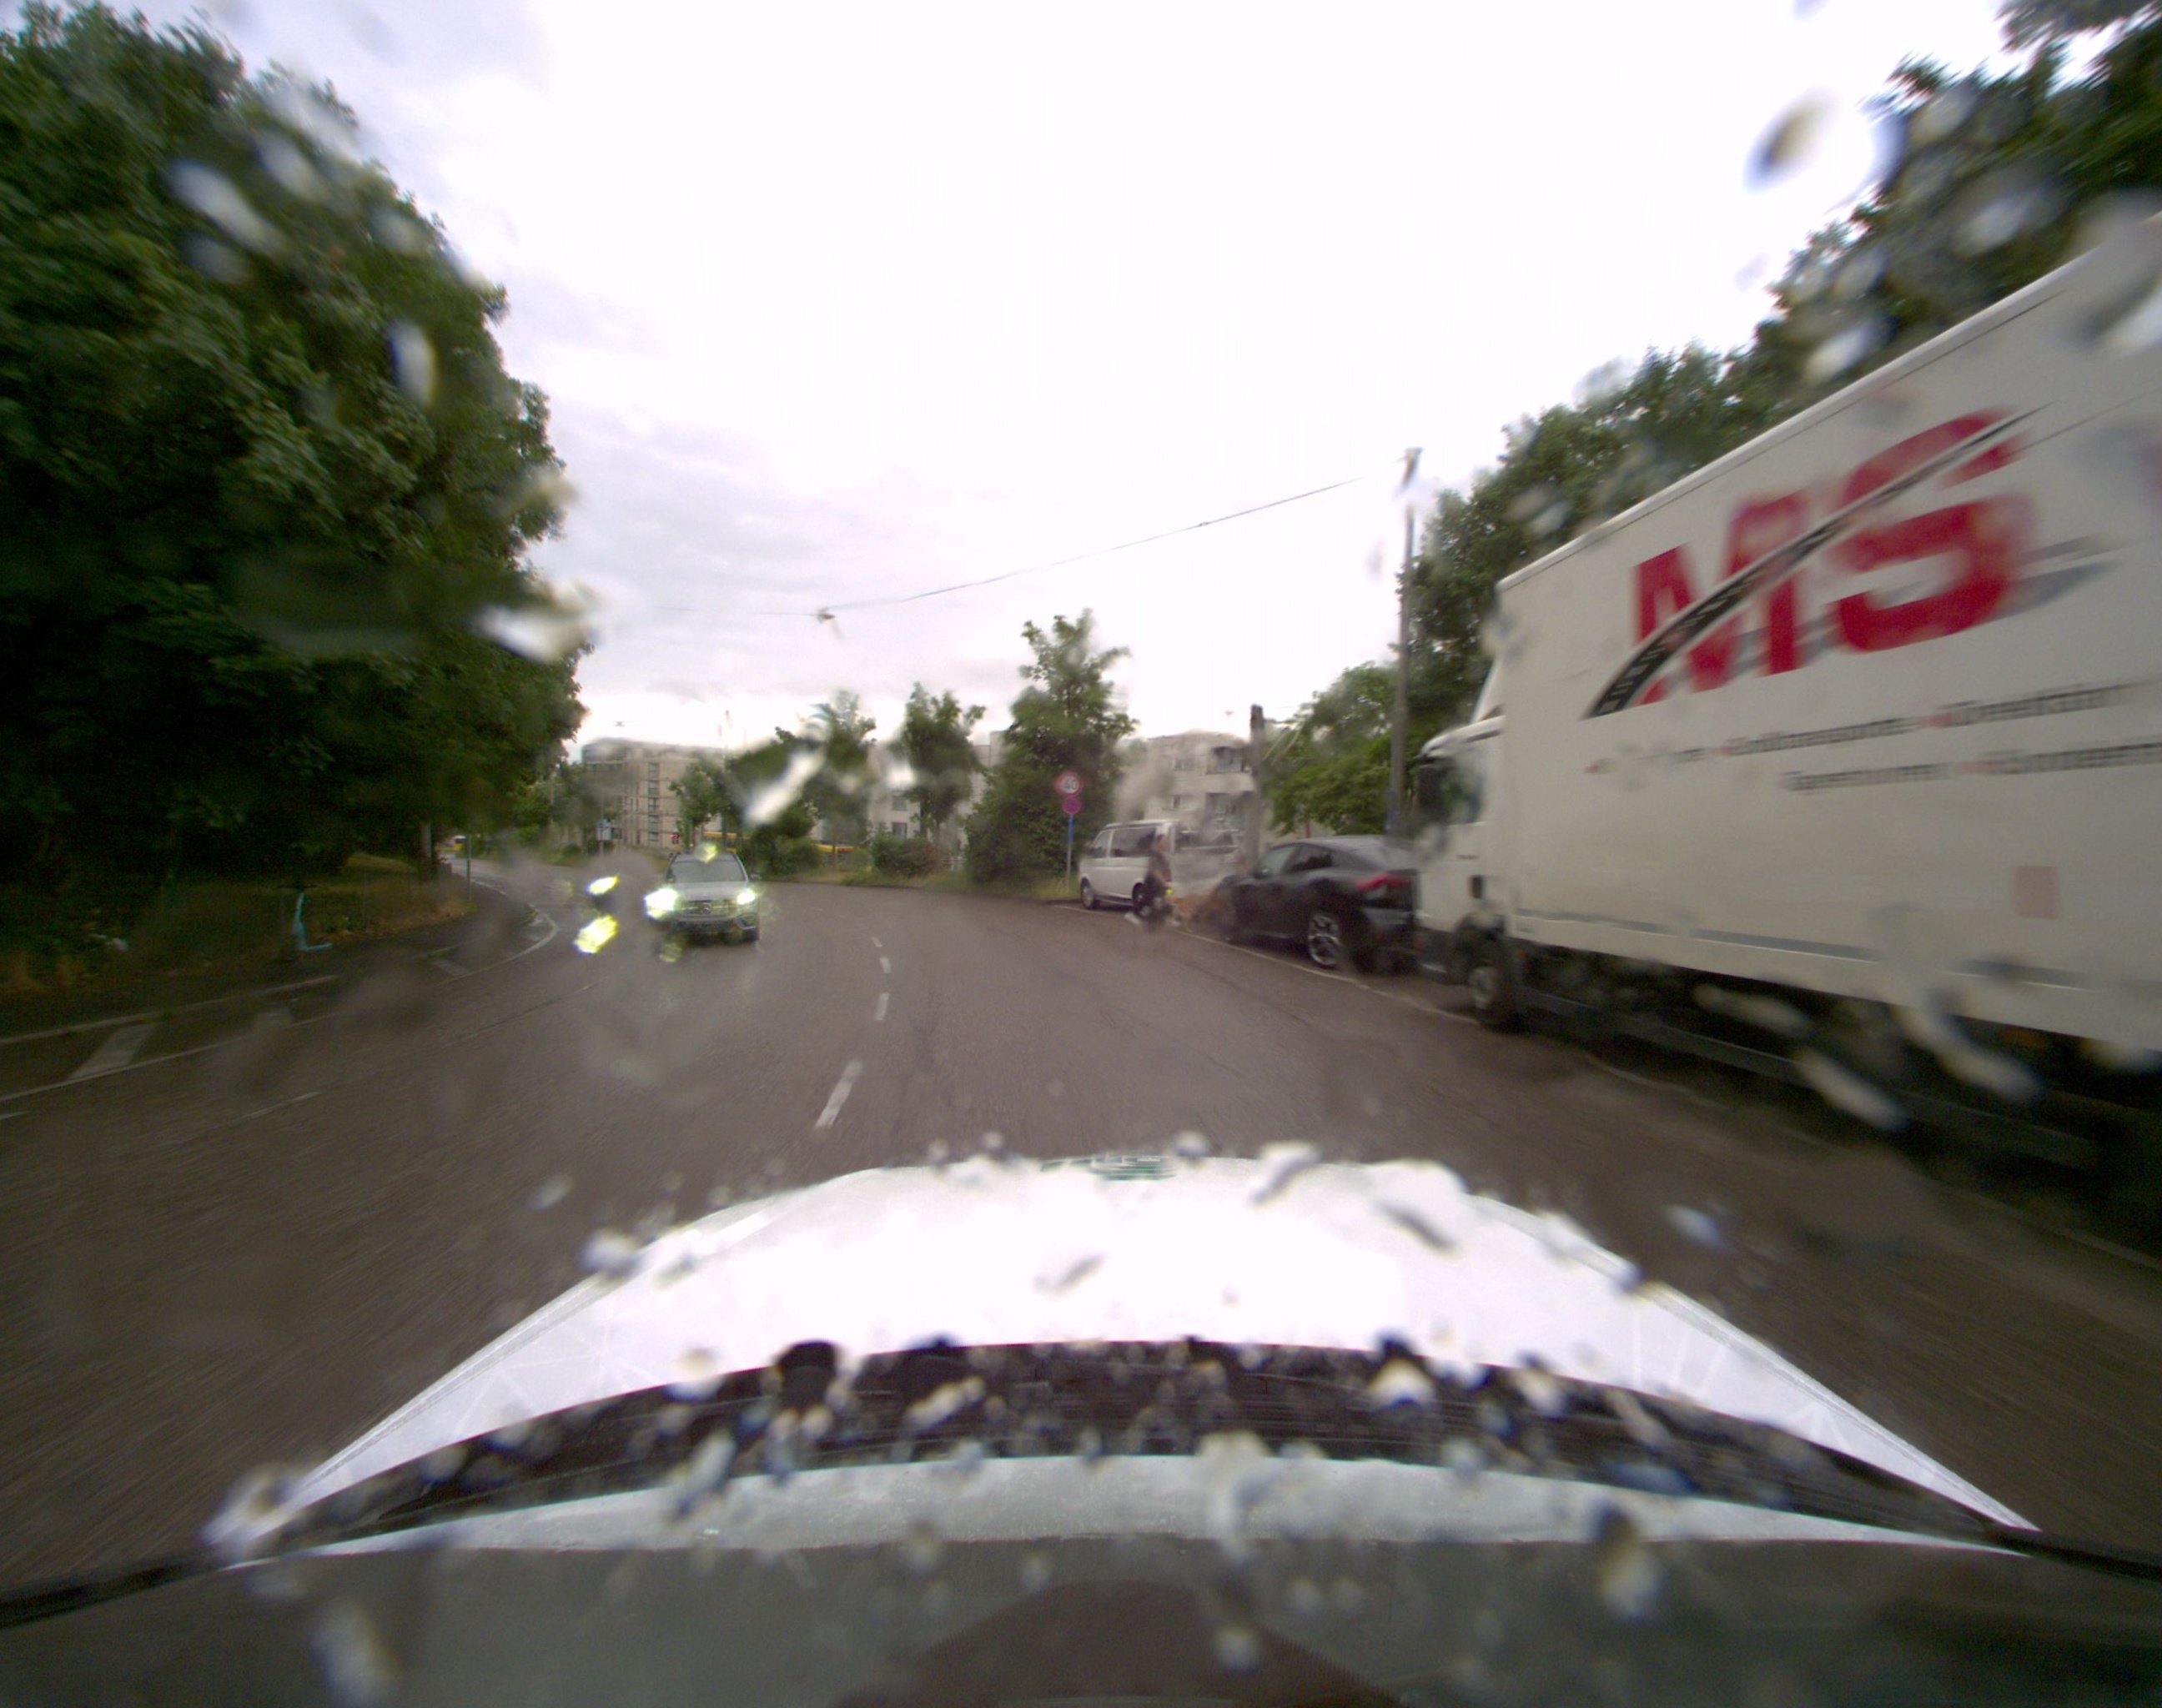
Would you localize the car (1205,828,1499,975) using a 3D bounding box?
[{"bbox_3d":[3.394,0.503,11.174,1.722,1.555,4.254,-2,1,-16],"label":"car"}]

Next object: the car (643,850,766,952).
[{"bbox_3d":[-7.295,0.785,16.160,1.824,1.669,4.280,-2,1,-21],"label":"car"}]

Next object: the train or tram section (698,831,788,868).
[{"bbox_3d":[-39.440,-0.486,94.169,3.360,3.947,18.584,0,0,-43],"label":"train or tram section"}]

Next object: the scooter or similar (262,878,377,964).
[{"bbox_3d":[-12.437,1.063,13.360,0.608,1.268,1.433,3,-1,-8],"label":"scooter or similar"}]

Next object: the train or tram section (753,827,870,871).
[{"bbox_3d":[-27.202,-0.467,80.968,3.360,3.947,19.047,0,0,-43],"label":"train or tram section"}]

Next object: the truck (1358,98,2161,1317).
[{"bbox_3d":[4.567,-0.462,3.856,3.002,3.573,8.322,-2,0,-5],"label":"truck"}]

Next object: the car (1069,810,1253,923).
[{"bbox_3d":[1.496,0.204,17.278,1.884,2.013,4.657,-2,1,-22],"label":"car"}]

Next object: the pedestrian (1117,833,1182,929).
[{"bbox_3d":[1.247,0.468,14.720,0.914,1.661,0.809,-2,2,21],"label":"pedestrian"}]
